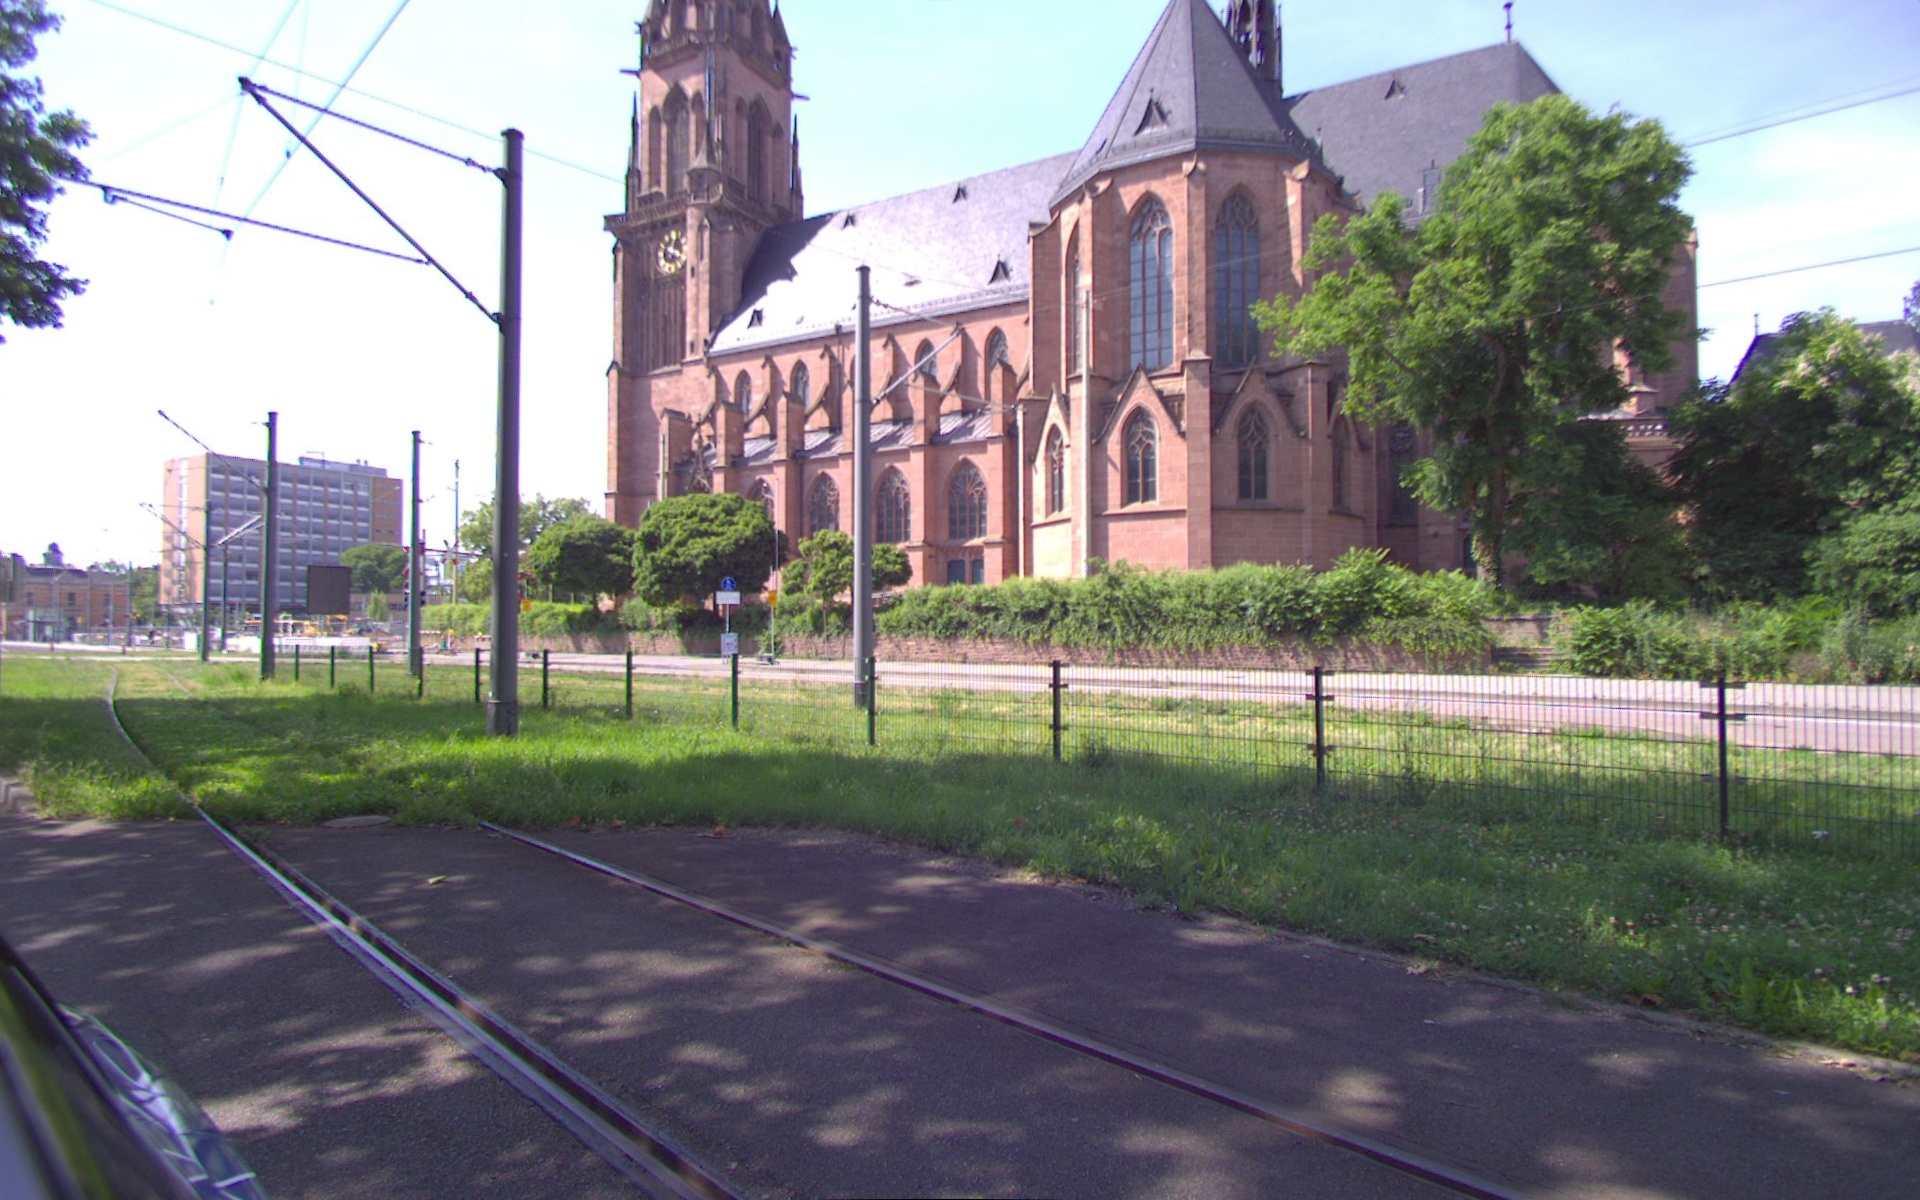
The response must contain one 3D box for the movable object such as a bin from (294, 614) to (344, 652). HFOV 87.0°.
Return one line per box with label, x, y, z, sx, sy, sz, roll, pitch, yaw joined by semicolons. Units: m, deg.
movable object such as a bin;-66.676;3.414;105.359;2.904;3.911;3.327;0;-2;8
